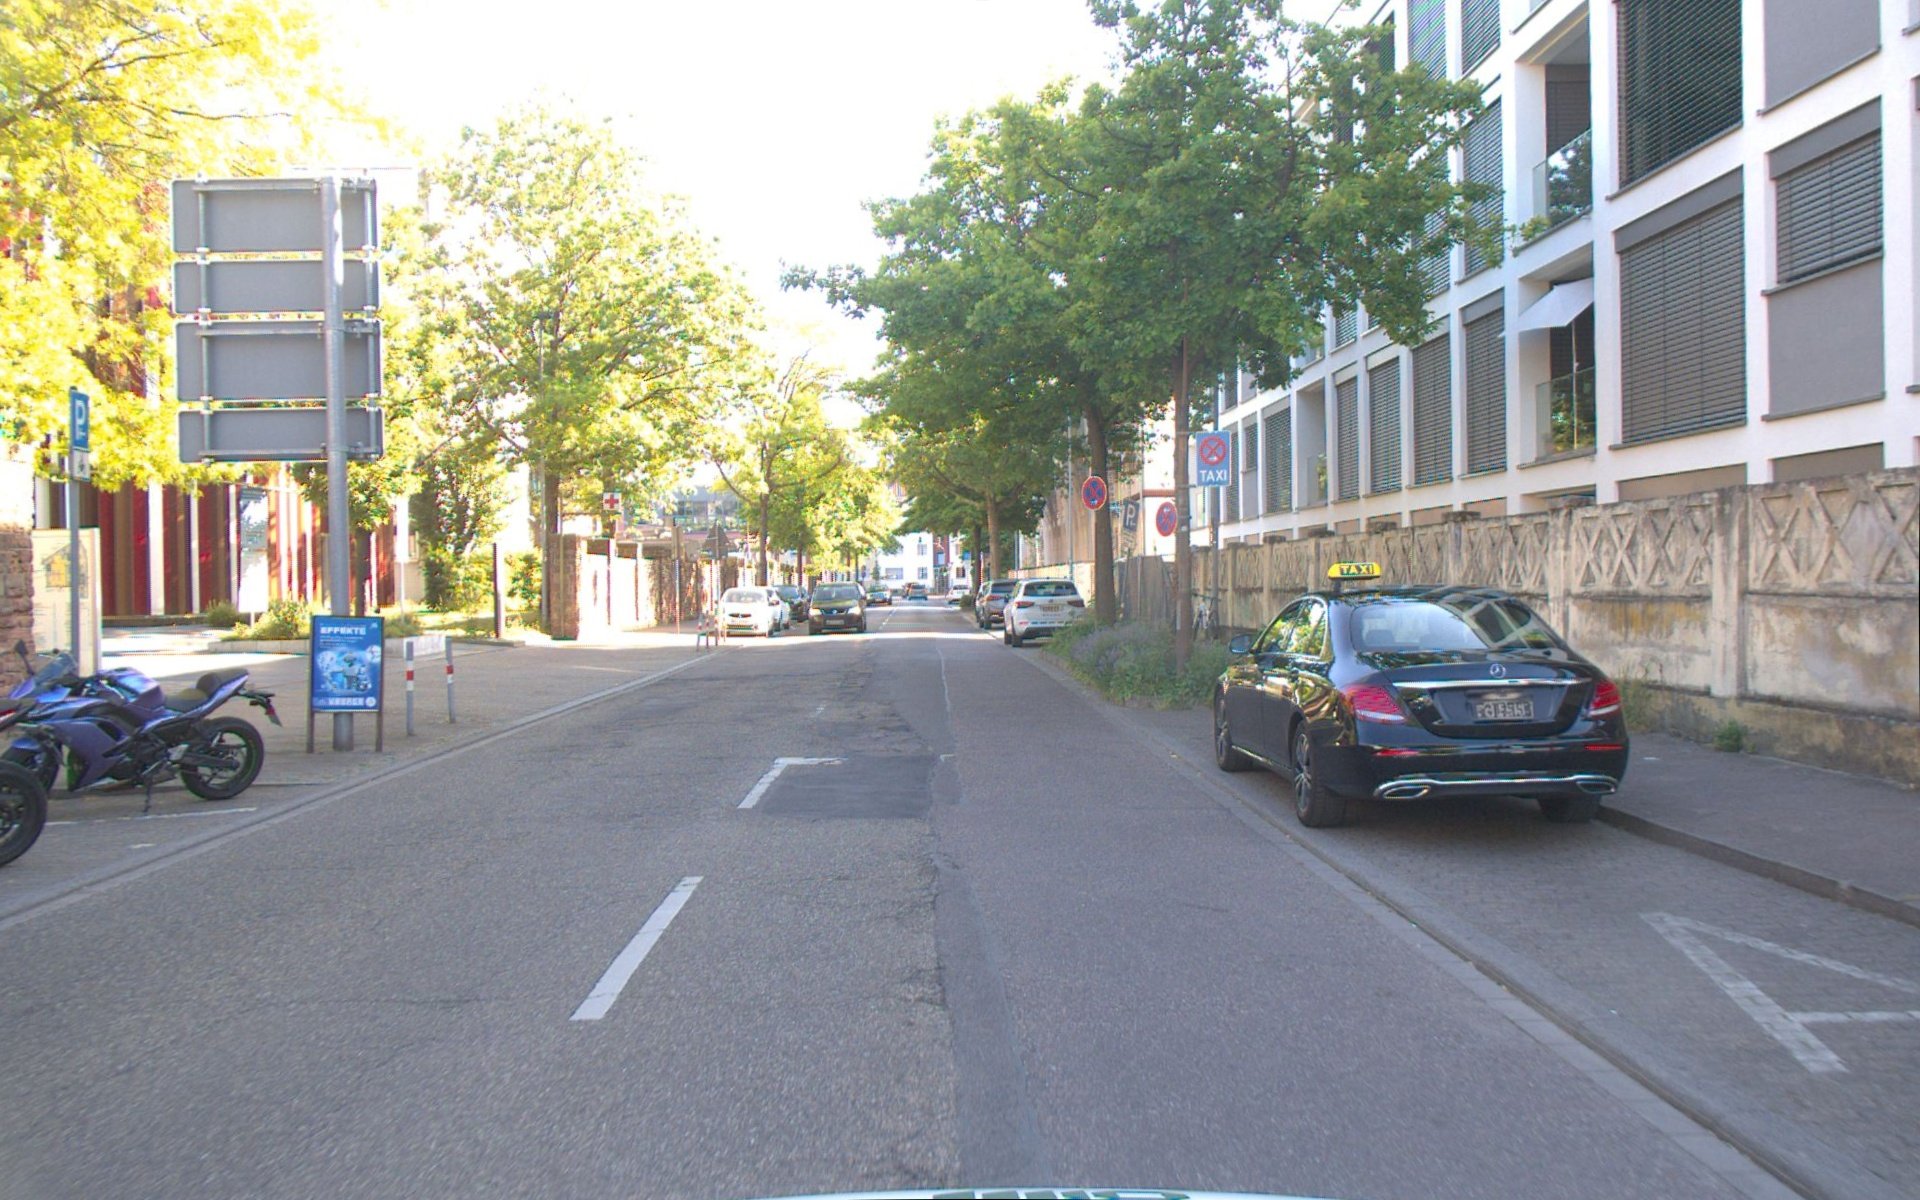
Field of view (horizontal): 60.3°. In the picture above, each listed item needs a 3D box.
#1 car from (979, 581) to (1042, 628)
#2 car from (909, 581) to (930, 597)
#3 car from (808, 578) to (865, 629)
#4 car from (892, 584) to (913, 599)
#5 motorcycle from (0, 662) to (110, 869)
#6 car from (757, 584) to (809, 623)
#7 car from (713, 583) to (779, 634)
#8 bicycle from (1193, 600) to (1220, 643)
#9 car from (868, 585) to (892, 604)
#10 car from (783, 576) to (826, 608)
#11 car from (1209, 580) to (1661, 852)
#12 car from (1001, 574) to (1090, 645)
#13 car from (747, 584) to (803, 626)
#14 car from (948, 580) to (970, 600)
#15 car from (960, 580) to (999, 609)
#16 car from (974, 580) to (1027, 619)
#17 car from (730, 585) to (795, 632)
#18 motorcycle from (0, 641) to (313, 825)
[{"bbox_3d":[1.670,0.119,55.708,1.953,1.491,3.836,-1,1,-1],"label":"car"},{"bbox_3d":[-3.680,-0.996,150.164,1.851,1.424,3.836,-1,1,-1],"label":"car"},{"bbox_3d":[-3.936,0.073,53.229,1.620,1.556,3.999,-1,1,-2],"label":"car"},{"bbox_3d":[-5.893,-0.881,168.527,1.954,1.478,3.997,-1,1,-4],"label":"car"},{"bbox_3d":[-5.735,0.939,8.849,0.566,1.093,2.117,0,1,31],"label":"motorcycle"},{"bbox_3d":[-7.435,0.134,69.824,1.868,1.556,3.999,-1,1,-2],"label":"car"},{"bbox_3d":[-6.657,0.240,51.814,1.731,1.513,3.998,0,1,-3],"label":"car"},{"bbox_3d":[5.083,0.430,34.141,0.349,0.856,1.324,-1,1,-1],"label":"bicycle"},{"bbox_3d":[-5.660,-0.434,117.423,1.553,1.298,3.836,-1,1,-1],"label":"car"},{"bbox_3d":[-7.781,-0.394,82.878,1.868,1.556,3.999,0,1,-2],"label":"car"},{"bbox_3d":[2.936,0.613,11.148,1.731,1.465,3.998,-1,1,-3],"label":"car"},{"bbox_3d":[2.017,0.194,39.952,1.911,1.605,3.836,-1,1,-1],"label":"car"},{"bbox_3d":[-7.303,0.181,65.686,1.868,1.556,3.999,-1,1,-2],"label":"car"},{"bbox_3d":[-0.078,-0.716,120.827,1.553,1.424,3.836,-1,1,-1],"label":"car"},{"bbox_3d":[1.003,-0.288,86.403,1.953,1.450,3.836,-1,1,-1],"label":"car"},{"bbox_3d":[1.555,-0.050,65.100,1.953,1.450,3.836,-1,1,-1],"label":"car"},{"bbox_3d":[-6.849,0.275,57.666,1.868,1.556,3.999,-1,1,-2],"label":"car"},{"bbox_3d":[-5.691,0.886,11.759,0.566,1.093,2.117,0,1,31],"label":"motorcycle"}]
